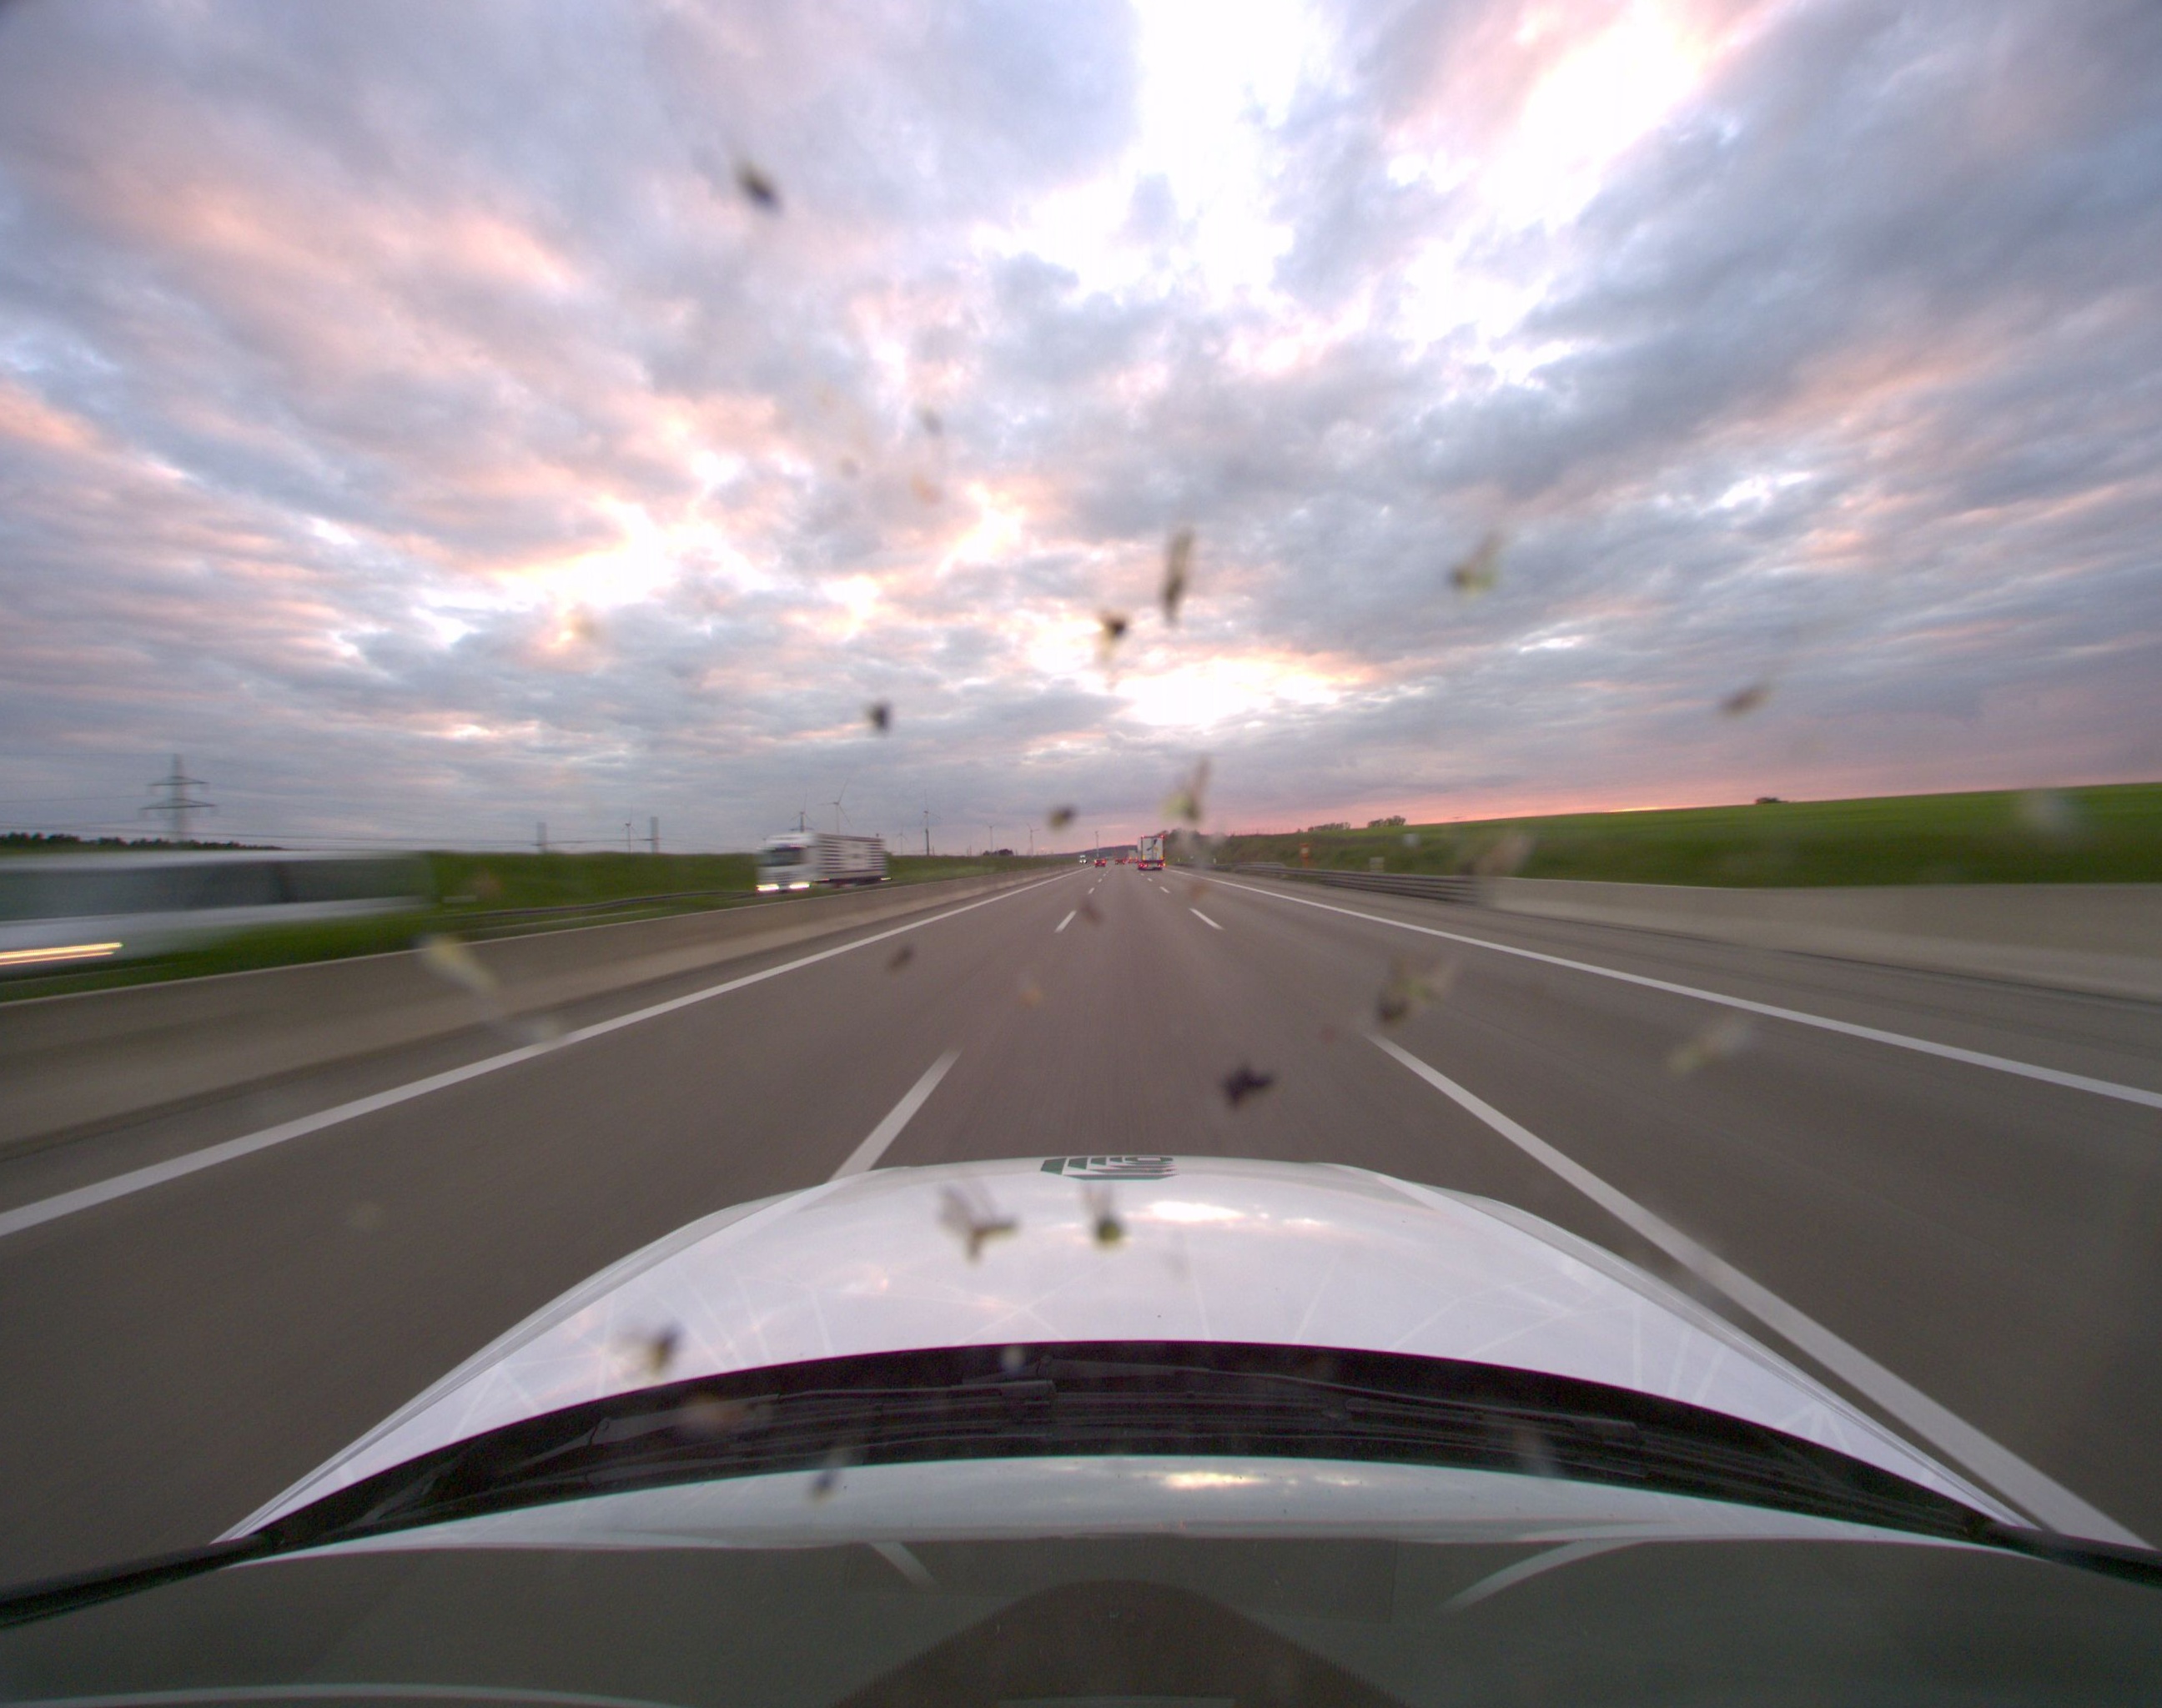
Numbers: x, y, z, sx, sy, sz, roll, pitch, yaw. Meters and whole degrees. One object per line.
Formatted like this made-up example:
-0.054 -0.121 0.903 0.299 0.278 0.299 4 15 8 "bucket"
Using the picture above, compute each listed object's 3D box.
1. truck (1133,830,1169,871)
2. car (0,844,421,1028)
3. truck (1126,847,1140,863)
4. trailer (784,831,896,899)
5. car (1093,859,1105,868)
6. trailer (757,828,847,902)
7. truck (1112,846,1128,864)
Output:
8.396 -0.338 99.489 3.661 4.565 10.986 -2 0 2 "truck"
-14.741 1.129 13.429 2.119 2.344 6.496 -3 -1 3 "car"
15.591 0.305 244.994 3.951 4.414 8.638 -3 -1 2 "truck"
-16.774 0.757 58.453 2.676 4.115 15.117 -4 -1 2 "trailer"
3.156 1.593 142.099 1.980 1.429 4.002 -3 0 2 "car"
-17.101 0.683 50.479 2.676 4.115 6.942 -4 -1 2 "trailer"
10.065 0.234 209.970 3.633 4.414 8.641 -3 -1 2 "truck"
